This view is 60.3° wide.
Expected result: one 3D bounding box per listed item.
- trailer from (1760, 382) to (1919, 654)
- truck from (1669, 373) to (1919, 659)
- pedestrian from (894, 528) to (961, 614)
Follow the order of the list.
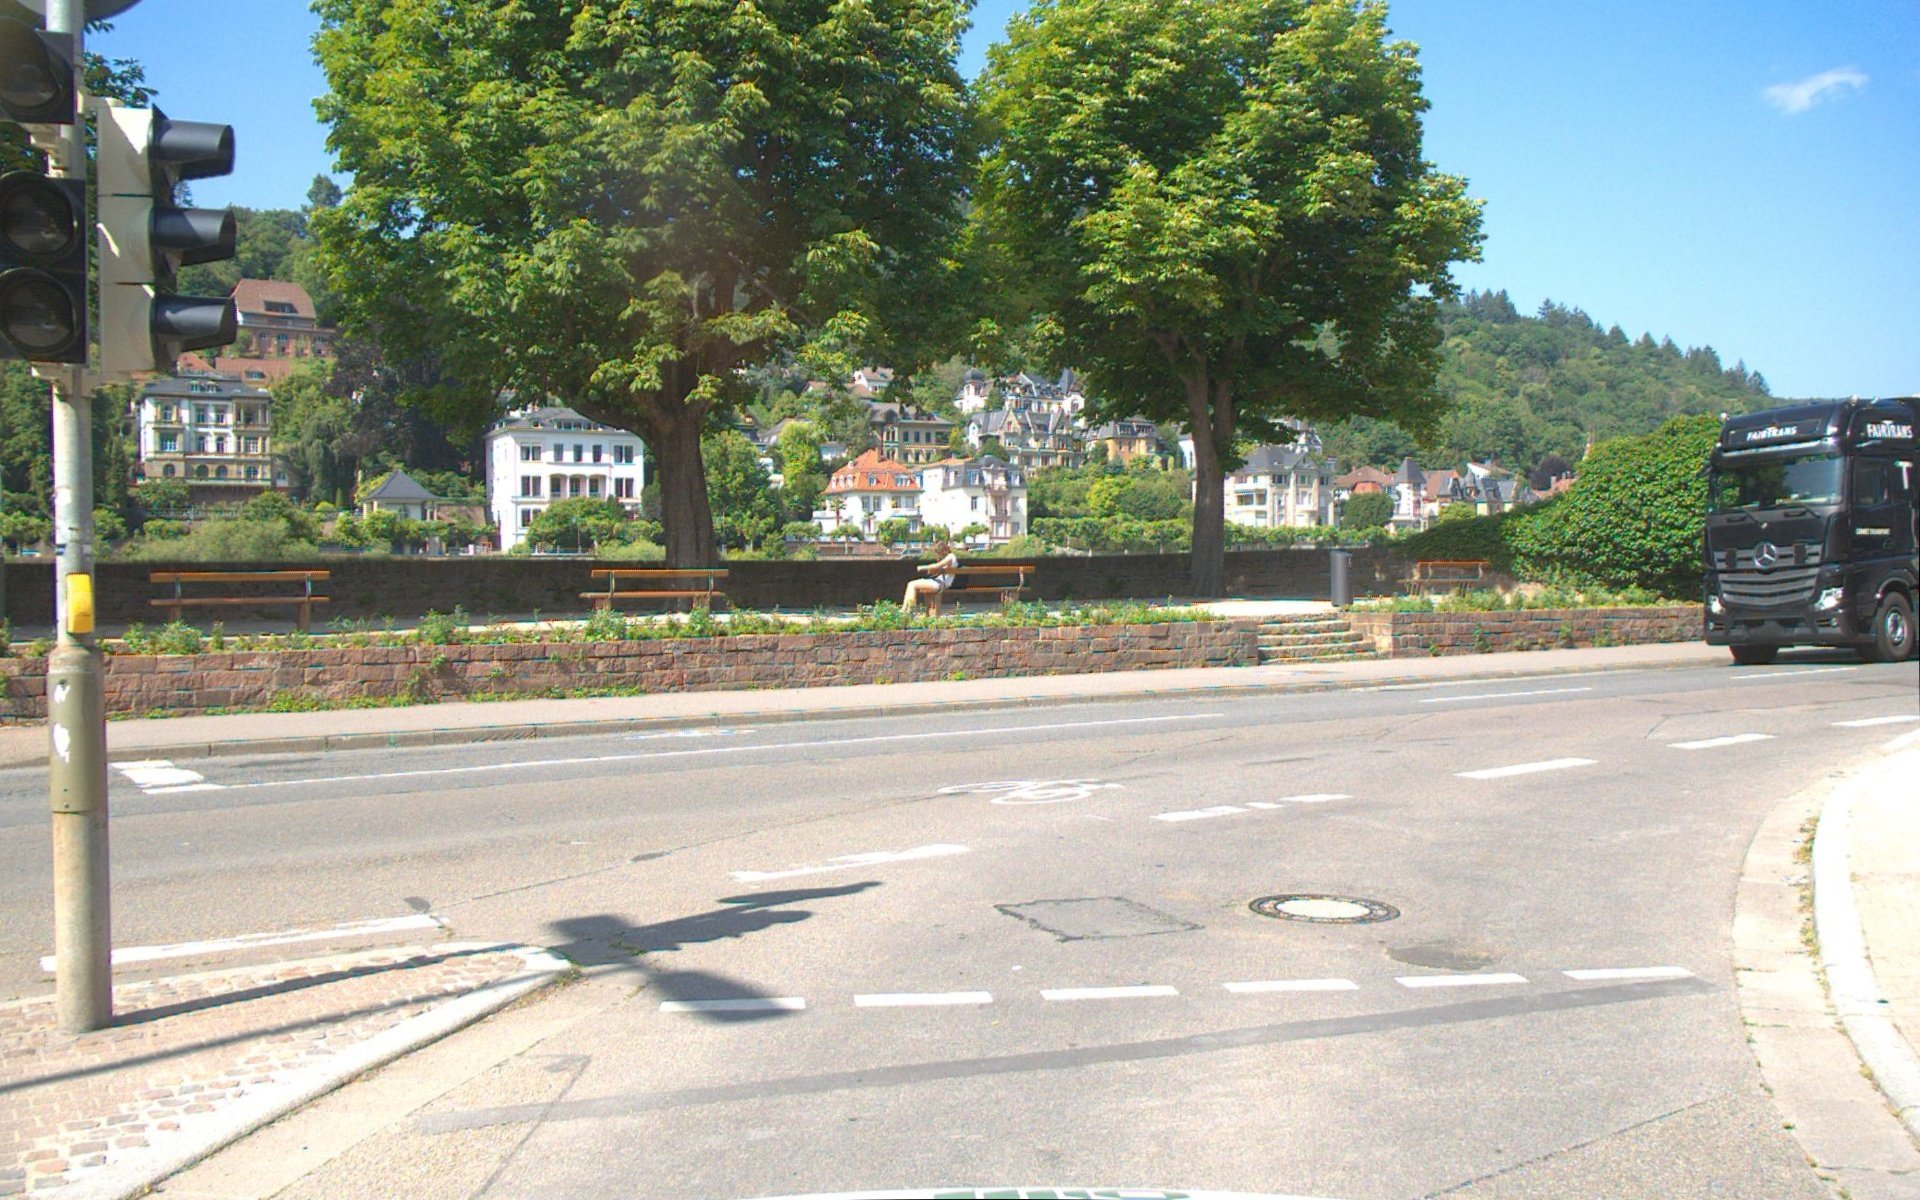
[{"bbox_3d":[19.935,-1.389,30.173,13.597,4.176,2.811,-2,-1,-33],"label":"trailer"},{"bbox_3d":[14.535,-1.239,26.680,5.858,4.142,2.807,-1,-1,-33],"label":"truck"},{"bbox_3d":[-0.501,-0.432,25.264,0.789,1.232,0.708,1,-4,-29],"label":"pedestrian"}]
